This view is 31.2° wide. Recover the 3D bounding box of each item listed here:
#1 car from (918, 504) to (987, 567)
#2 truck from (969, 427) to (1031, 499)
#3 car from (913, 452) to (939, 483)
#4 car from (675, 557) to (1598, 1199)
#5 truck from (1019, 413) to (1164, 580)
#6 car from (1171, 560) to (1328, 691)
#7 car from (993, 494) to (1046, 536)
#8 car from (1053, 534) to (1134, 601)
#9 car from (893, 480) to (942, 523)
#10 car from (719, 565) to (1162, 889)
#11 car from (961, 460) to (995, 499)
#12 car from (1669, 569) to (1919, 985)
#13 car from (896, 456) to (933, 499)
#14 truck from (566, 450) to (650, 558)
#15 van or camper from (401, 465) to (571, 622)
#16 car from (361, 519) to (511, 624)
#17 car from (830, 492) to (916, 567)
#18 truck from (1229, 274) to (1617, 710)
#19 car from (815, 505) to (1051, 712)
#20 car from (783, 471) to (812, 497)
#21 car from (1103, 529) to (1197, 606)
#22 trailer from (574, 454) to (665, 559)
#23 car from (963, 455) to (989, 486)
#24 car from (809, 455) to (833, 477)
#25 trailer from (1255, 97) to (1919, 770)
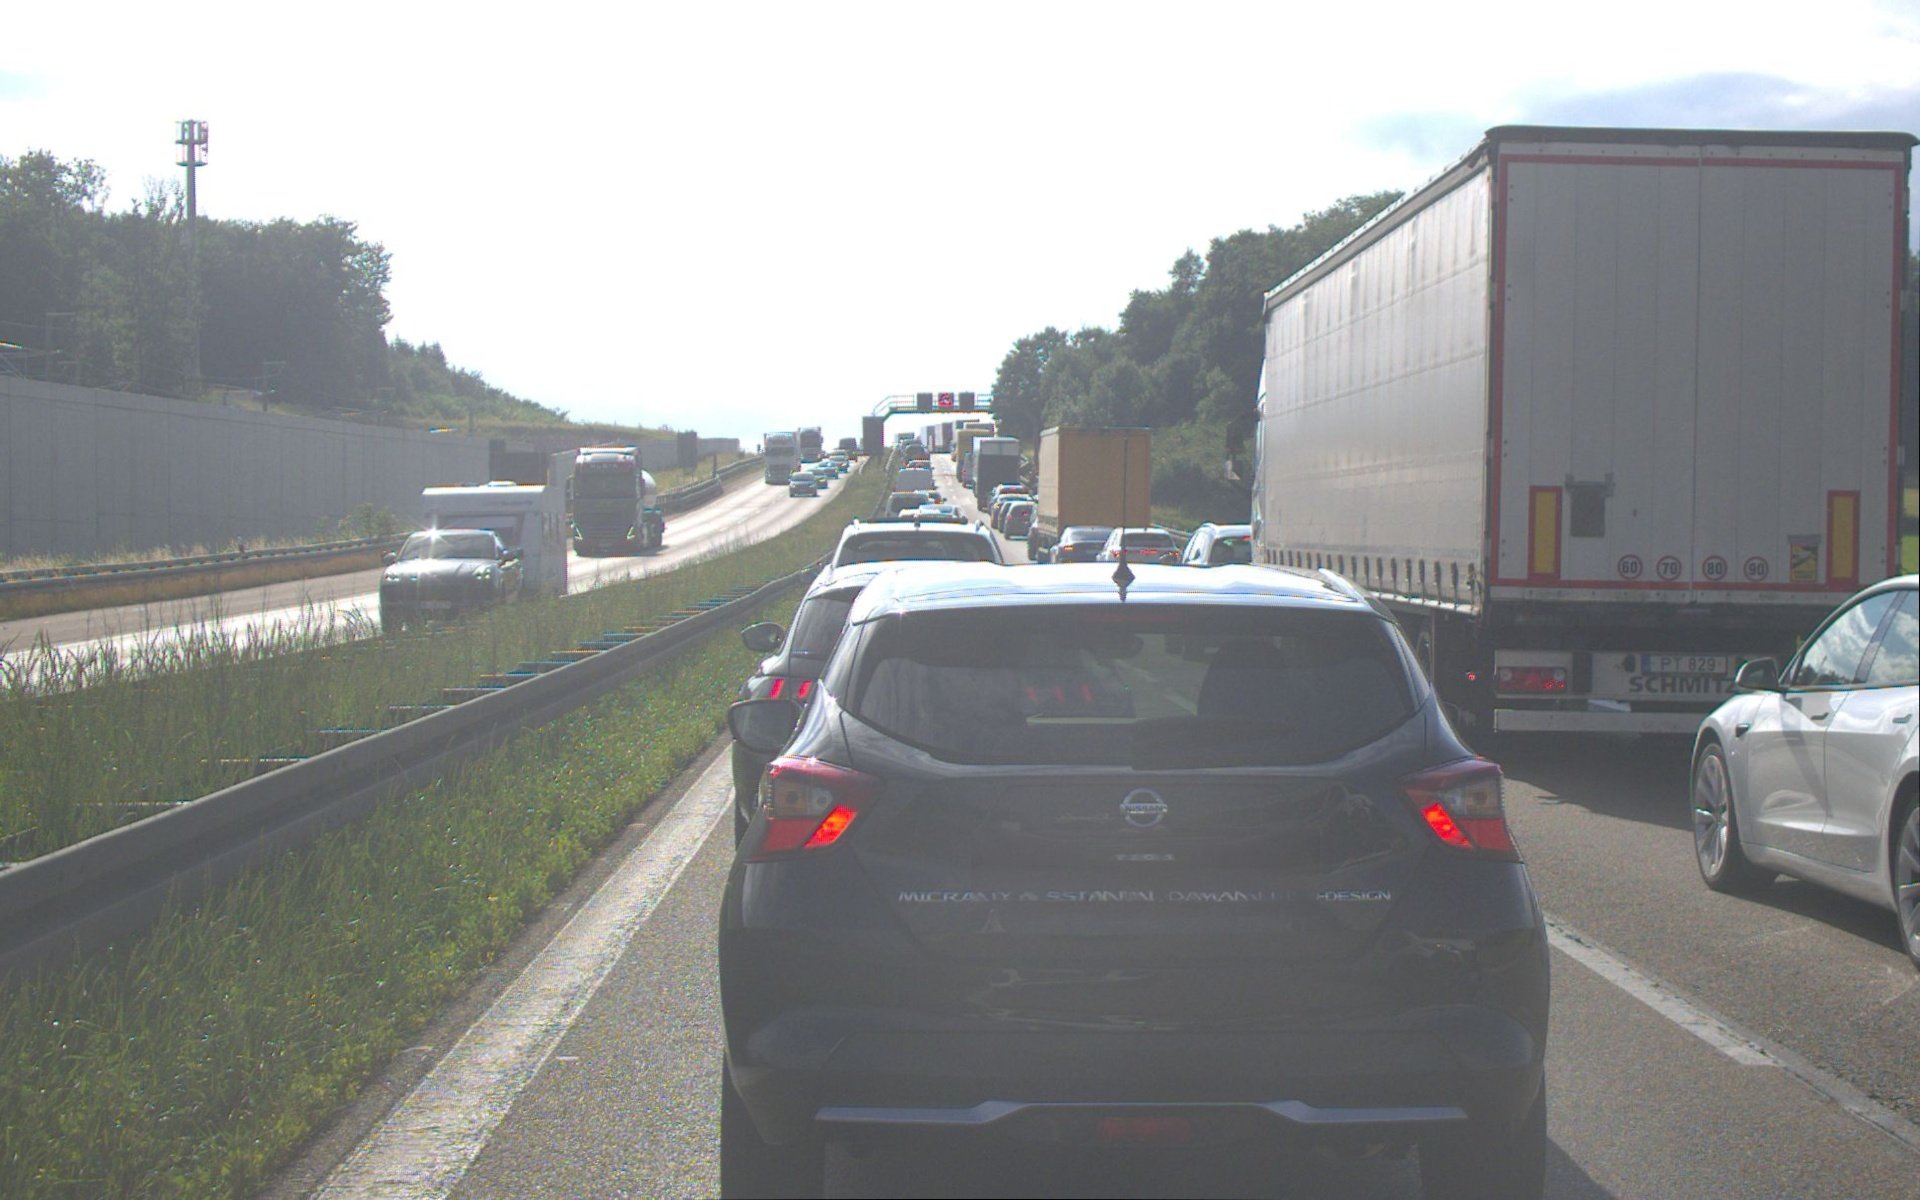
[{"bbox_3d":[-0.225,-1.833,96.565,1.873,1.638,4.233,0,2,0],"label":"car"},{"bbox_3d":[2.550,-8.965,225.660,3.464,4.561,12.443,1,2,-2],"label":"truck"},{"bbox_3d":[-2.501,-9.738,251.865,1.873,2.151,5.212,0,4,-1],"label":"car"},{"bbox_3d":[0.325,0.618,8.727,1.773,1.446,4.232,0,1,0],"label":"car"},{"bbox_3d":[3.708,-2.884,100.687,3.296,4.562,12.442,1,0,-2],"label":"truck"},{"bbox_3d":[3.697,0.288,44.488,1.697,1.605,4.437,0,1,1],"label":"car"},{"bbox_3d":[2.464,-3.554,143.047,1.873,1.638,4.233,0,2,-4],"label":"car"},{"bbox_3d":[3.362,-0.843,87.263,1.873,1.638,4.232,0,1,0],"label":"car"},{"bbox_3d":[-1.724,-3.941,136.838,1.873,1.638,4.233,0,2,-2],"label":"car"},{"bbox_3d":[-0.099,0.518,16.686,1.873,1.353,4.232,0,1,0],"label":"car"},{"bbox_3d":[1.034,-7.025,200.023,1.873,2.151,5.212,0,4,-1],"label":"car"},{"bbox_3d":[4.146,0.600,13.249,1.788,1.389,4.437,0,1,-2],"label":"car"},{"bbox_3d":[-2.396,-6.449,180.479,1.873,2.151,5.212,0,4,-1],"label":"car"},{"bbox_3d":[-13.205,-3.576,129.362,2.582,3.909,5.722,-1,1,-1],"label":"truck"},{"bbox_3d":[-8.569,-1.023,62.805,2.252,2.694,7.171,0,1,-1],"label":"van or camper"},{"bbox_3d":[-8.648,-0.489,57.036,1.910,1.666,4.362,0,1,-1],"label":"car"},{"bbox_3d":[-1.935,-1.614,77.775,1.873,1.638,4.233,0,2,0],"label":"car"},{"bbox_3d":[4.492,-1.006,34.409,3.133,4.002,5.163,1,0,0],"label":"truck"},{"bbox_3d":[-0.232,0.041,29.442,1.873,1.638,4.232,0,1,0],"label":"car"},{"bbox_3d":[-11.151,-7.947,235.920,1.781,1.731,4.102,0,1,0],"label":"car"},{"bbox_3d":[4.271,-0.761,77.879,1.873,1.638,4.233,0,2,0],"label":"car"},{"bbox_3d":[-13.275,-3.597,134.708,2.588,3.888,10.865,-1,1,-1],"label":"trailer"},{"bbox_3d":[1.181,-9.615,255.271,1.873,2.151,5.212,0,4,-1],"label":"car"},{"bbox_3d":[-10.423,-10.067,258.189,1.697,1.494,4.427,0,1,-1],"label":"car"},{"bbox_3d":[4.505,-0.992,27.240,3.130,3.997,13.366,1,0,0],"label":"trailer"}]
